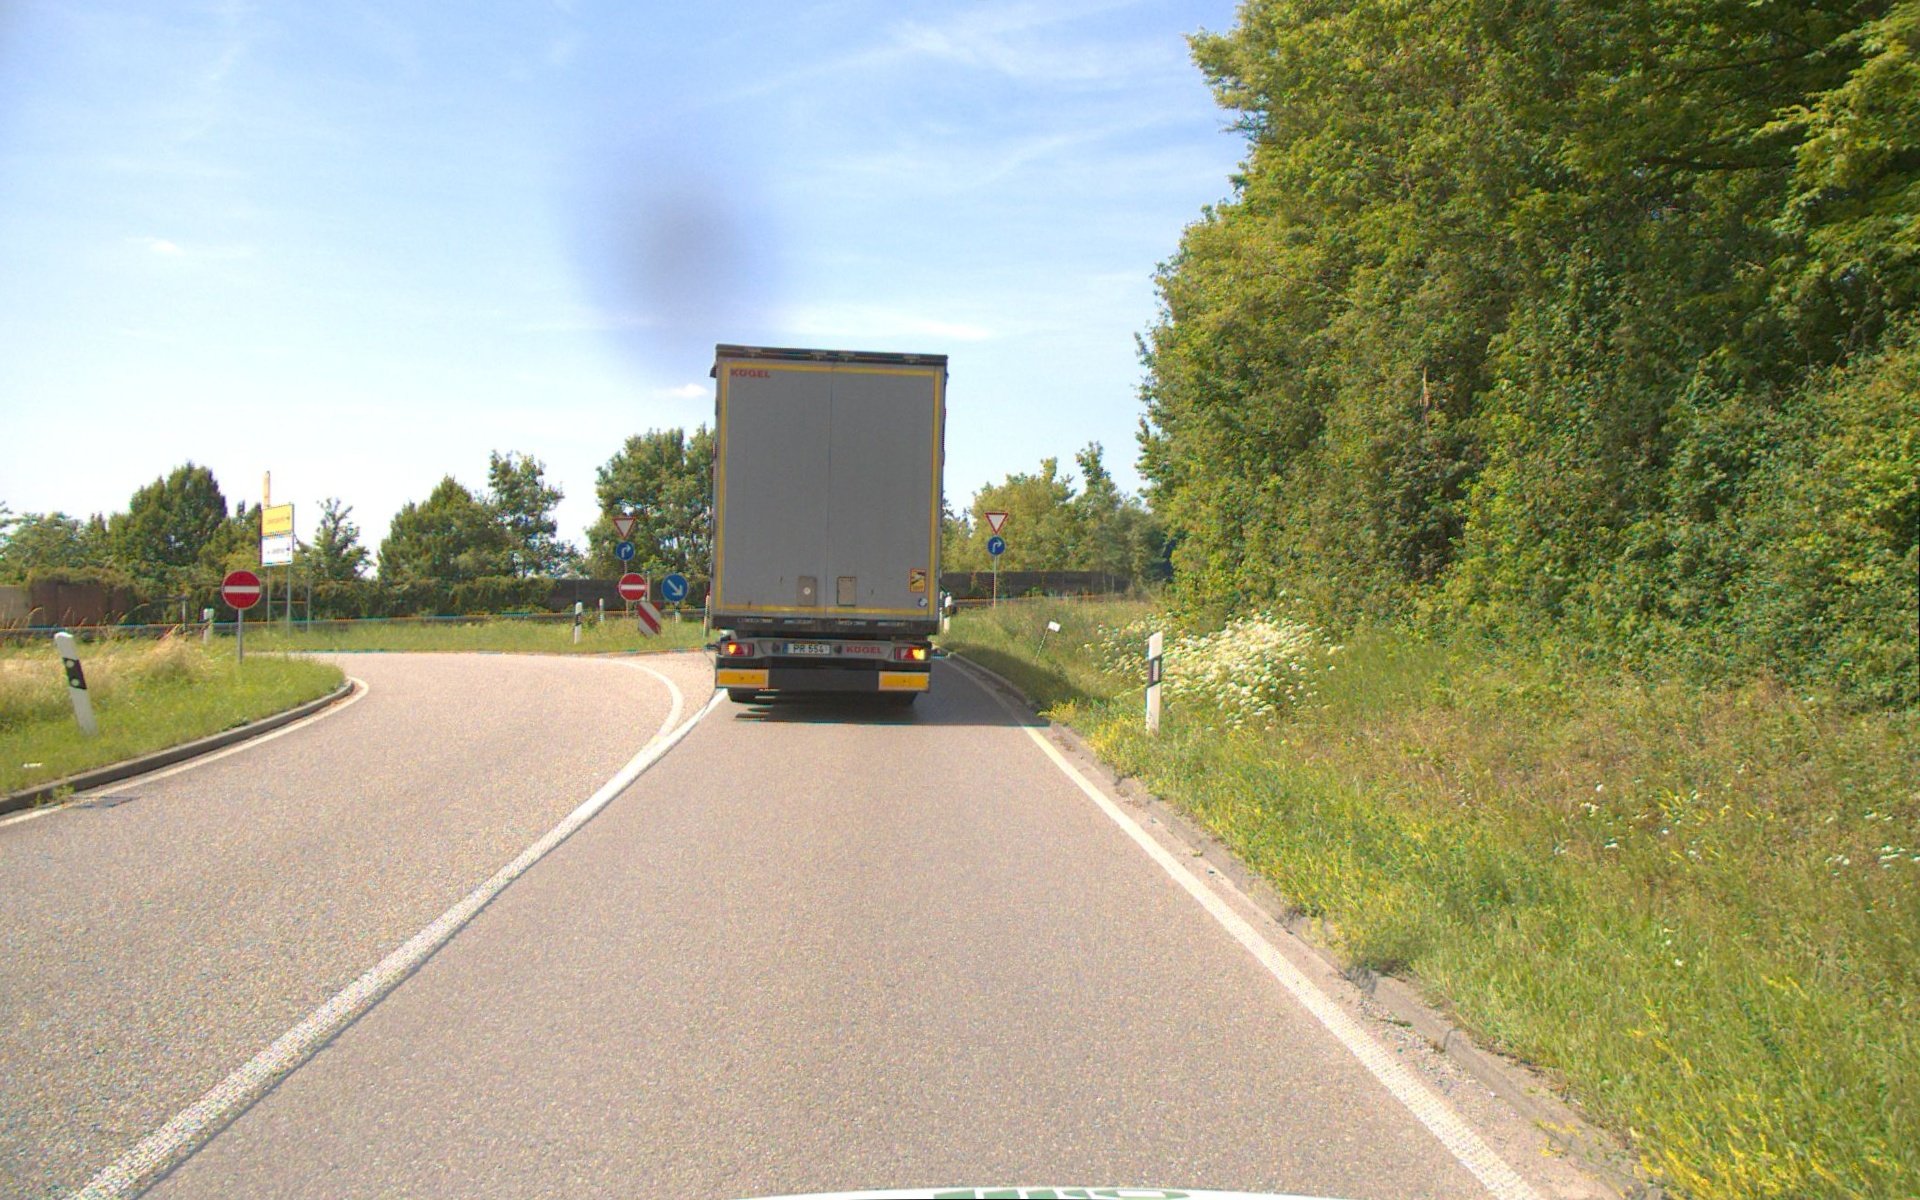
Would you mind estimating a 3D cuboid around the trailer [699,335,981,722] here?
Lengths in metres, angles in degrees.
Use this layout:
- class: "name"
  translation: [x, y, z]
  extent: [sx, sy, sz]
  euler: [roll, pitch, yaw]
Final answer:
- class: "trailer"
  translation: [-1.698, -0.868, 24.420]
  extent: [2.967, 4.105, 13.343]
  euler: [1, 1, -4]

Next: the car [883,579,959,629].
- class: "car"
  translation: [-1.229, 0.104, 53.981]
  extent: [1.630, 1.512, 4.004]
  euler: [-1, 1, 11]

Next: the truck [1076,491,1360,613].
- class: "truck"
  translation: [11.754, -2.053, 73.014]
  extent: [3.776, 4.827, 16.091]
  euler: [-1, 0, 44]
